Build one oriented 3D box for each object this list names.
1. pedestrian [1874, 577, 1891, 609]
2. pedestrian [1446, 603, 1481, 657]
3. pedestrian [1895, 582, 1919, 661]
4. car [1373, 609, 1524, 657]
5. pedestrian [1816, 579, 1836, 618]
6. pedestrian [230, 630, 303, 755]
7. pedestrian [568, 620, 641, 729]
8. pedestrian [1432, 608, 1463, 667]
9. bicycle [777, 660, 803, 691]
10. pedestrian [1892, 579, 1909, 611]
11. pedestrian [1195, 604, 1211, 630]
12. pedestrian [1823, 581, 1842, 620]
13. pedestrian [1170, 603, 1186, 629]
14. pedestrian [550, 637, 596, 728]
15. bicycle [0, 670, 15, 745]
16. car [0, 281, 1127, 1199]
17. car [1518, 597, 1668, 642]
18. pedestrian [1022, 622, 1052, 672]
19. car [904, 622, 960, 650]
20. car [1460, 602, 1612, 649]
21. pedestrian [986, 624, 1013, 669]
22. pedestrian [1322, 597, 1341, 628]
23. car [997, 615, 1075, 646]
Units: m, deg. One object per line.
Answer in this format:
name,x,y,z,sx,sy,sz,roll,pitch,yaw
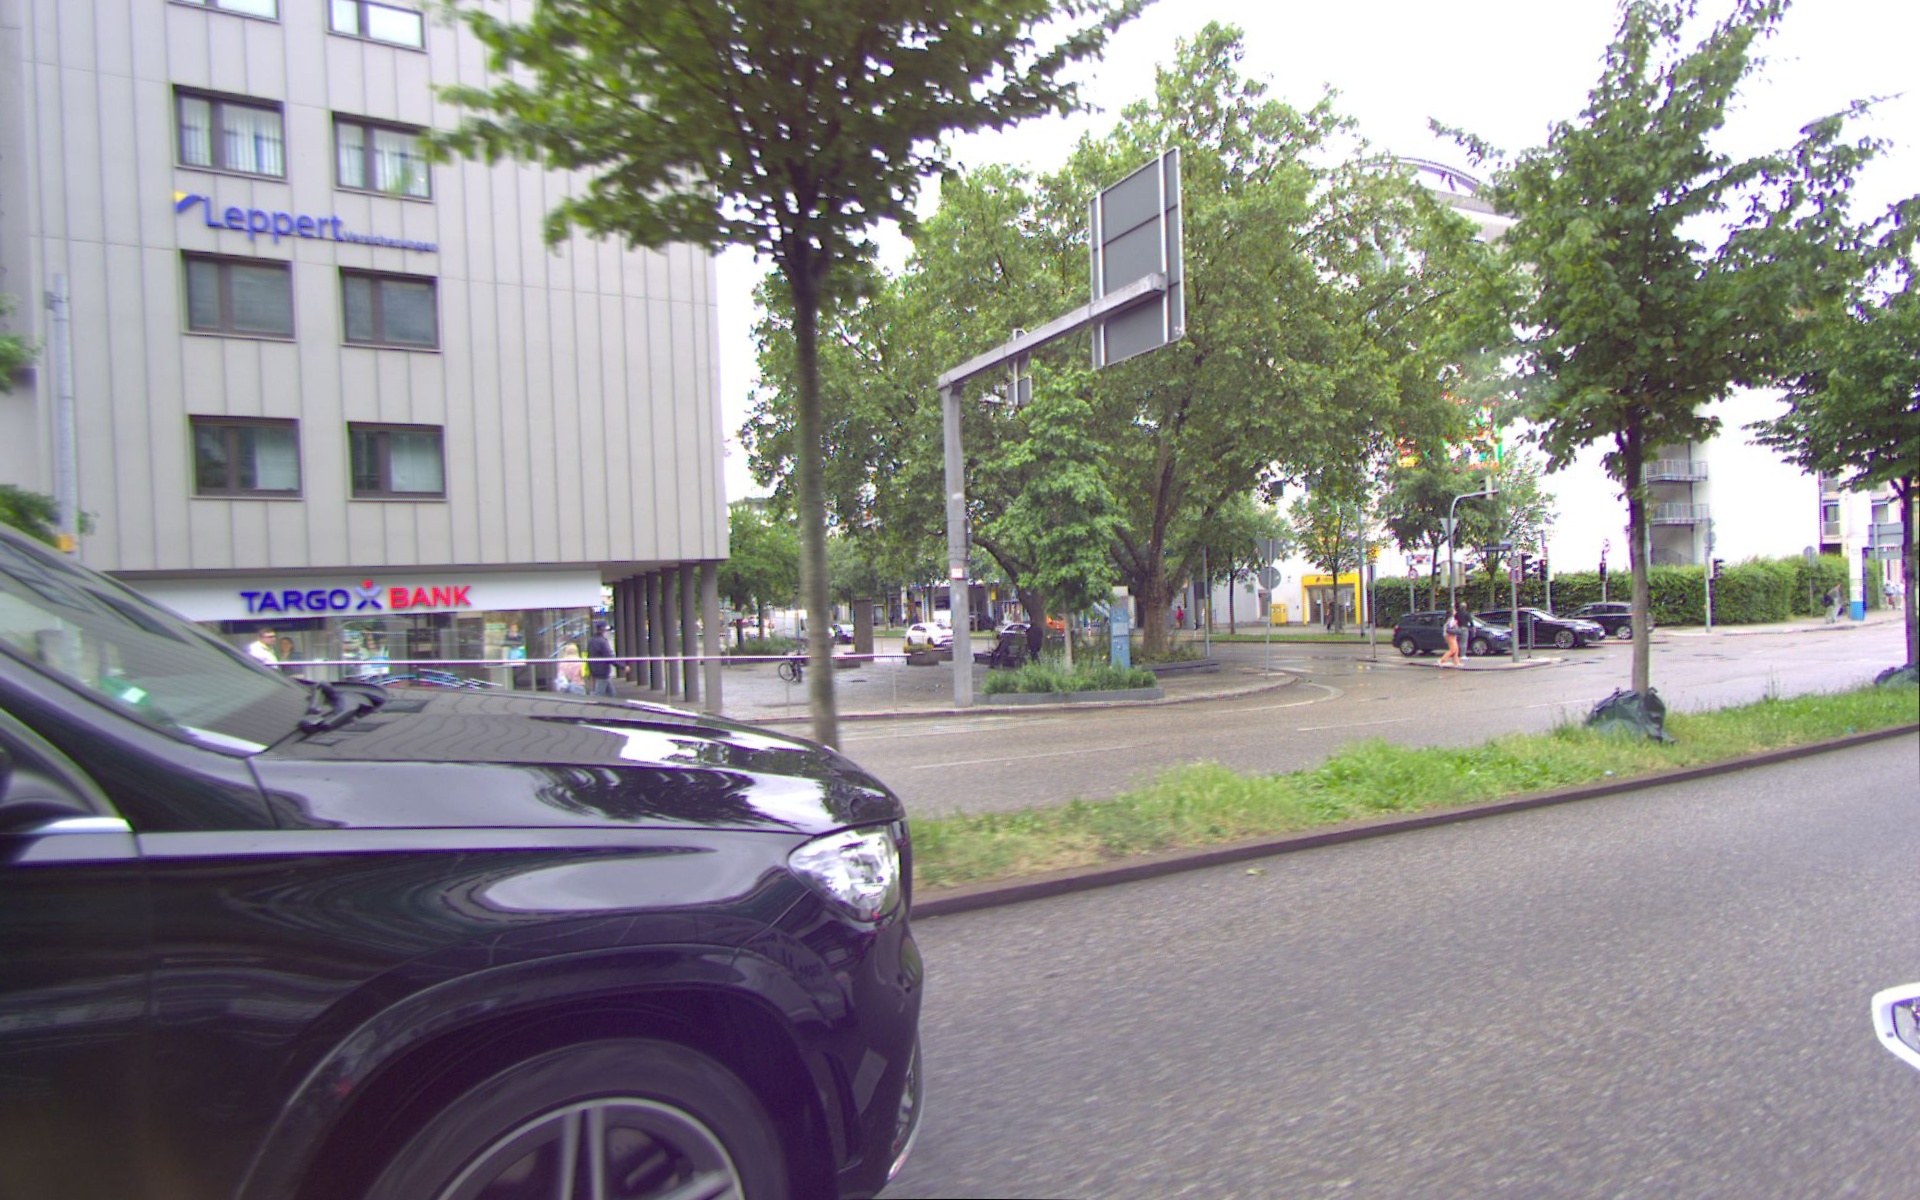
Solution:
pedestrian,51.844,-0.408,56.427,0.651,1.751,0.591,2,0,-39
pedestrian,15.887,0.939,31.710,0.620,1.684,0.749,-2,1,-30
pedestrian,22.309,0.512,23.140,0.700,1.807,0.920,2,0,-27
car,17.281,1.193,35.715,1.780,1.474,4.451,-2,-1,-42
pedestrian,39.367,-0.074,45.642,0.741,1.771,0.534,2,0,-39
pedestrian,-10.404,1.373,15.094,0.739,1.807,0.550,2,0,-19
pedestrian,-5.851,1.202,16.513,0.954,1.702,0.703,2,0,-34
pedestrian,14.252,1.100,29.374,0.572,1.684,0.554,-2,1,-31
bicycle,-6.086,2.683,35.843,0.512,0.918,2.063,2,0,-20
pedestrian,52.566,-0.282,56.124,0.651,1.751,0.591,2,0,-39
pedestrian,15.403,1.075,63.718,0.630,1.664,0.729,2,0,-25
pedestrian,40.454,0.034,46.575,0.559,1.771,0.535,2,0,-35
pedestrian,14.360,1.056,66.227,0.723,1.664,0.635,2,0,-24
pedestrian,-7.549,1.585,19.578,0.701,1.702,0.745,2,0,-29
bicycle,-14.165,1.481,13.570,1.915,1.013,0.613,1,-2,-26
car,-2.304,0.533,1.639,5.014,1.895,1.902,2,0,-30
car,23.881,0.769,38.027,1.780,1.474,4.451,-2,-1,-42
pedestrian,2.691,1.639,35.178,0.719,1.719,0.782,1,-2,-36
car,-1.792,2.220,62.445,1.619,1.506,4.271,-1,1,-31
car,20.922,0.957,36.636,1.780,1.474,4.451,-2,-1,-42
pedestrian,1.526,1.782,38.638,0.780,1.719,0.721,1,-2,-27
pedestrian,20.944,0.704,56.602,0.633,1.664,0.726,2,0,-38
car,4.039,1.630,53.608,1.691,1.586,4.191,0,-1,-40
